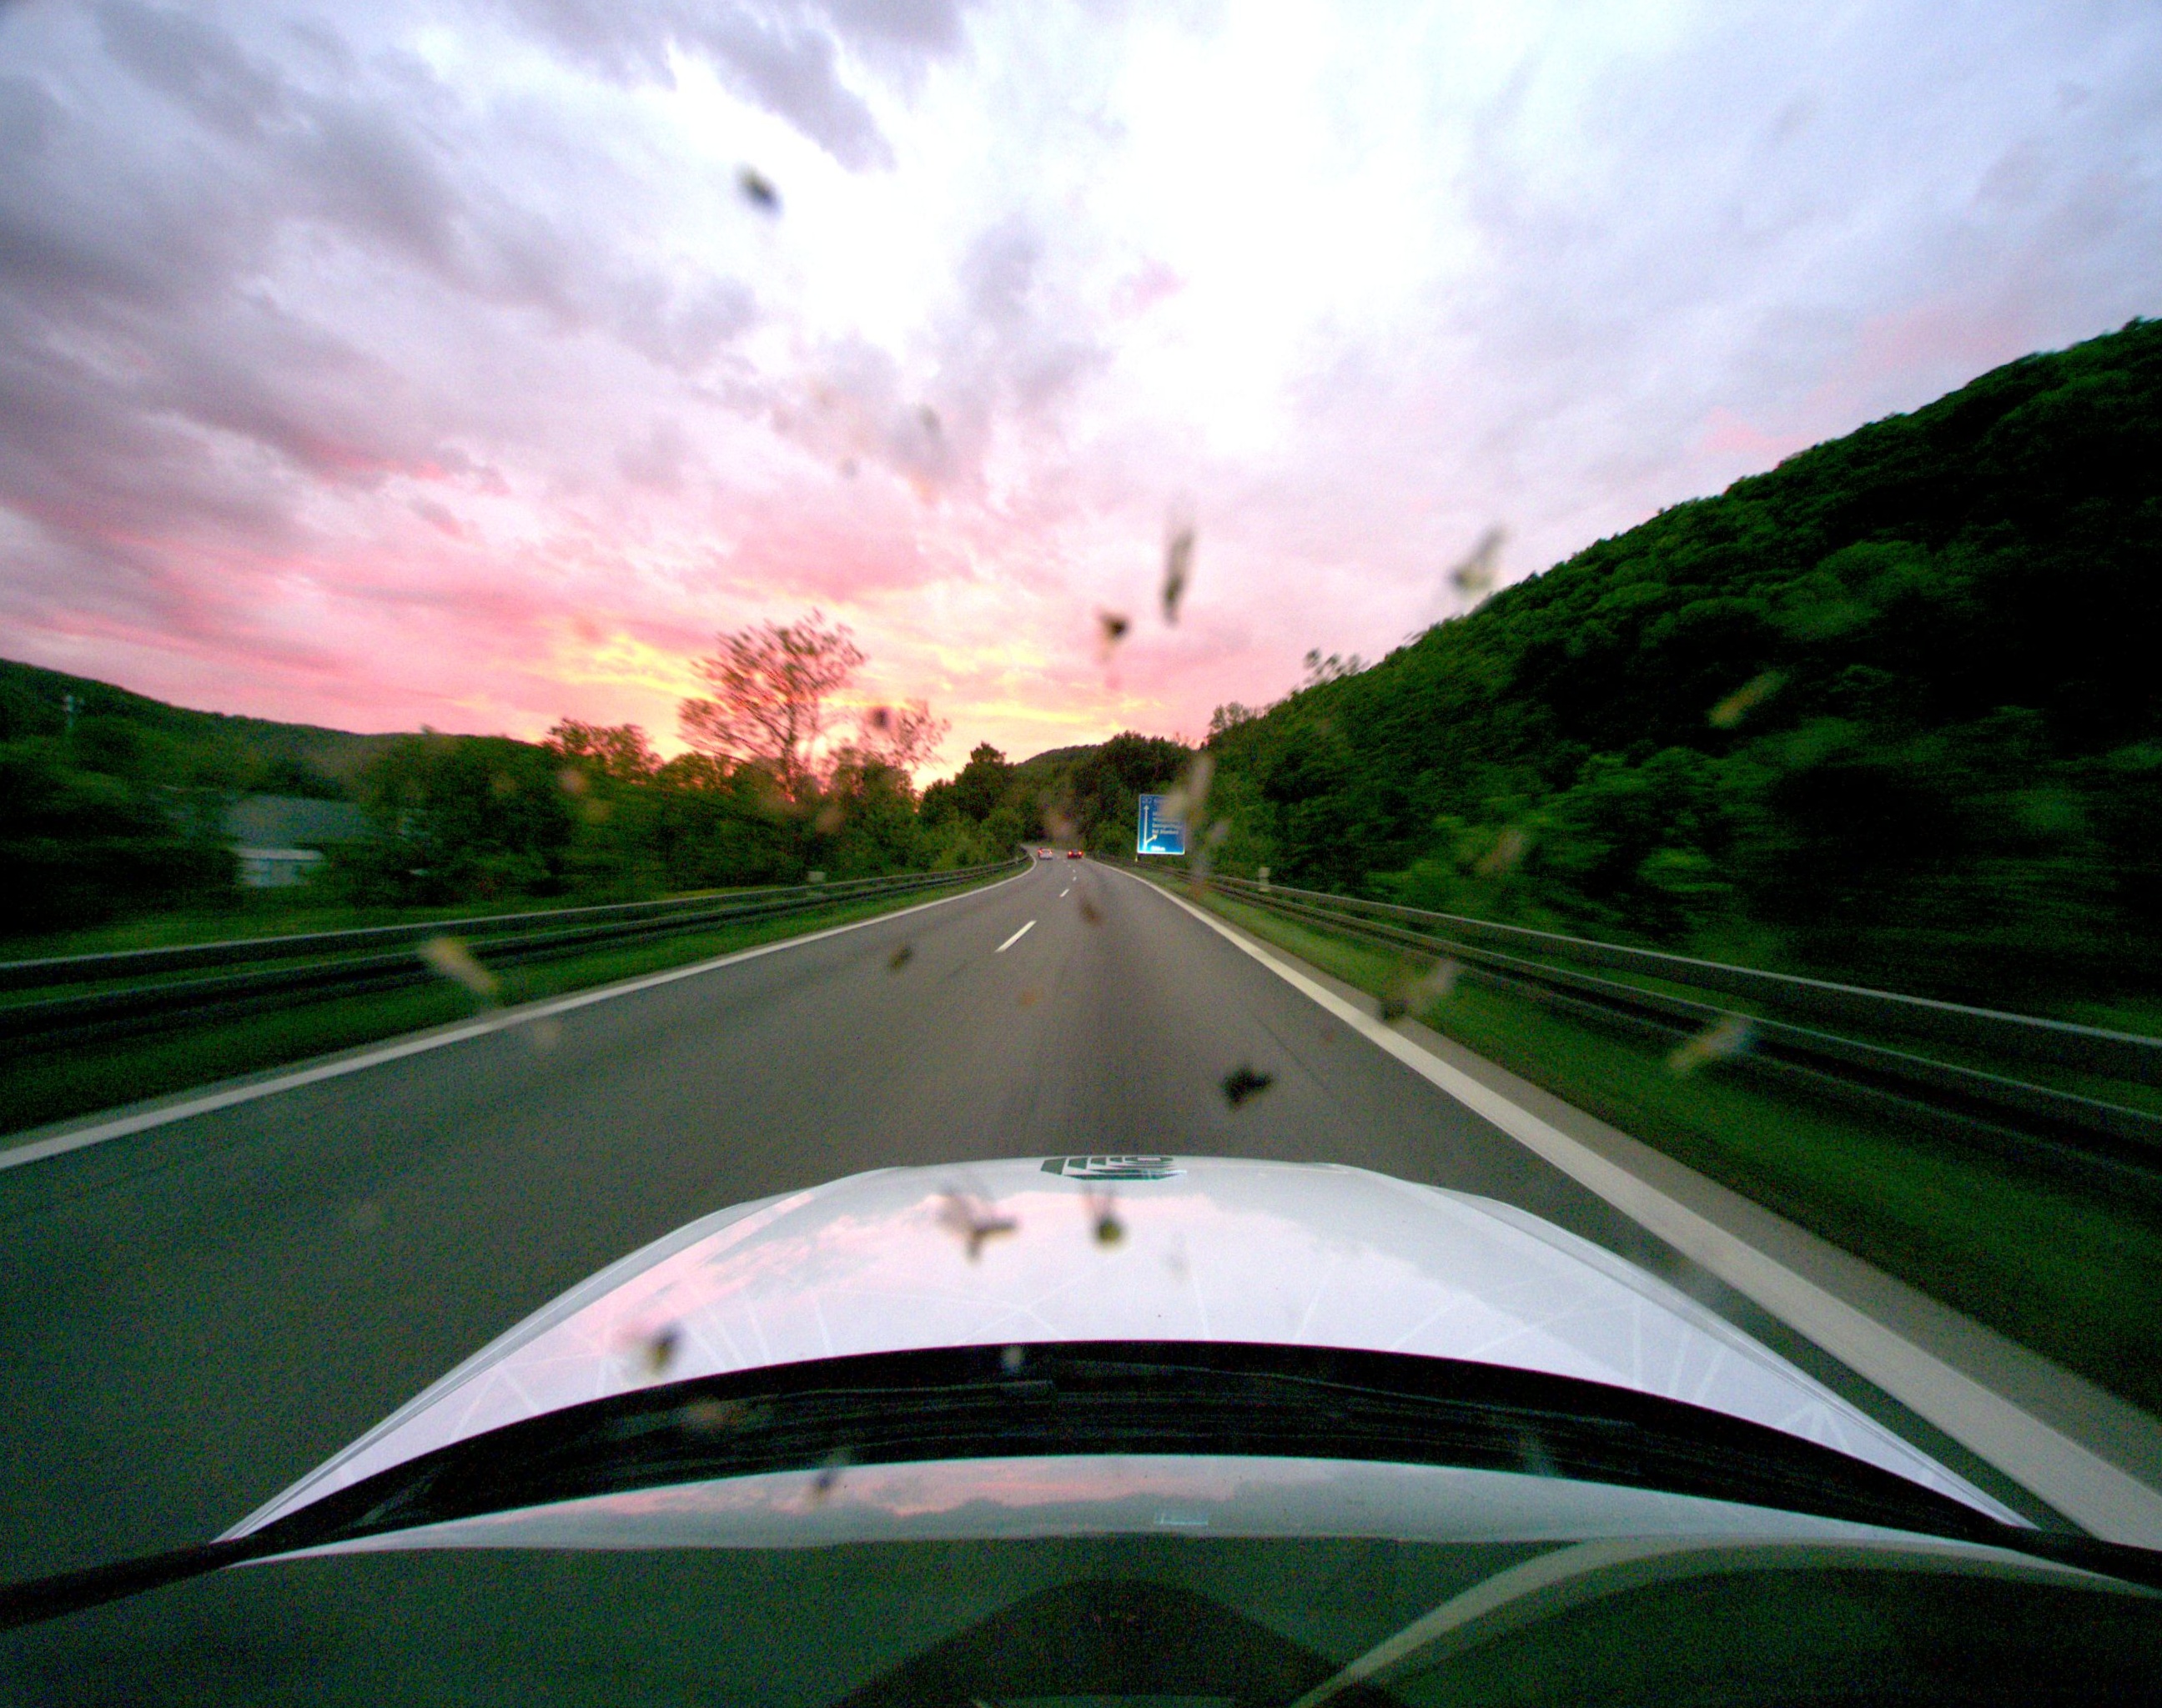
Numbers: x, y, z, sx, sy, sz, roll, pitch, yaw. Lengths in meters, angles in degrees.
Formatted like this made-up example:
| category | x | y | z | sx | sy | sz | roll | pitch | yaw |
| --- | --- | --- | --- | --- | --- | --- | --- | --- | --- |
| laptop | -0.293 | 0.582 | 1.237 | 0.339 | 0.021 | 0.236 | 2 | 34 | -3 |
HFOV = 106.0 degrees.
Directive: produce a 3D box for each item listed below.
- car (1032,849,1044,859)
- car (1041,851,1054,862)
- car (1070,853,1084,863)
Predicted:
| category | x | y | z | sx | sy | sz | roll | pitch | yaw |
| --- | --- | --- | --- | --- | --- | --- | --- | --- | --- |
| car | -6.990 | 0.006 | 133.255 | 1.712 | 1.635 | 3.999 | 1 | -1 | 0 |
| car | -4.763 | 0.376 | 115.982 | 1.712 | 1.501 | 4.000 | 1 | -1 | 0 |
| car | -0.582 | 0.574 | 117.837 | 1.871 | 1.466 | 4.001 | -1 | -1 | 2 |
